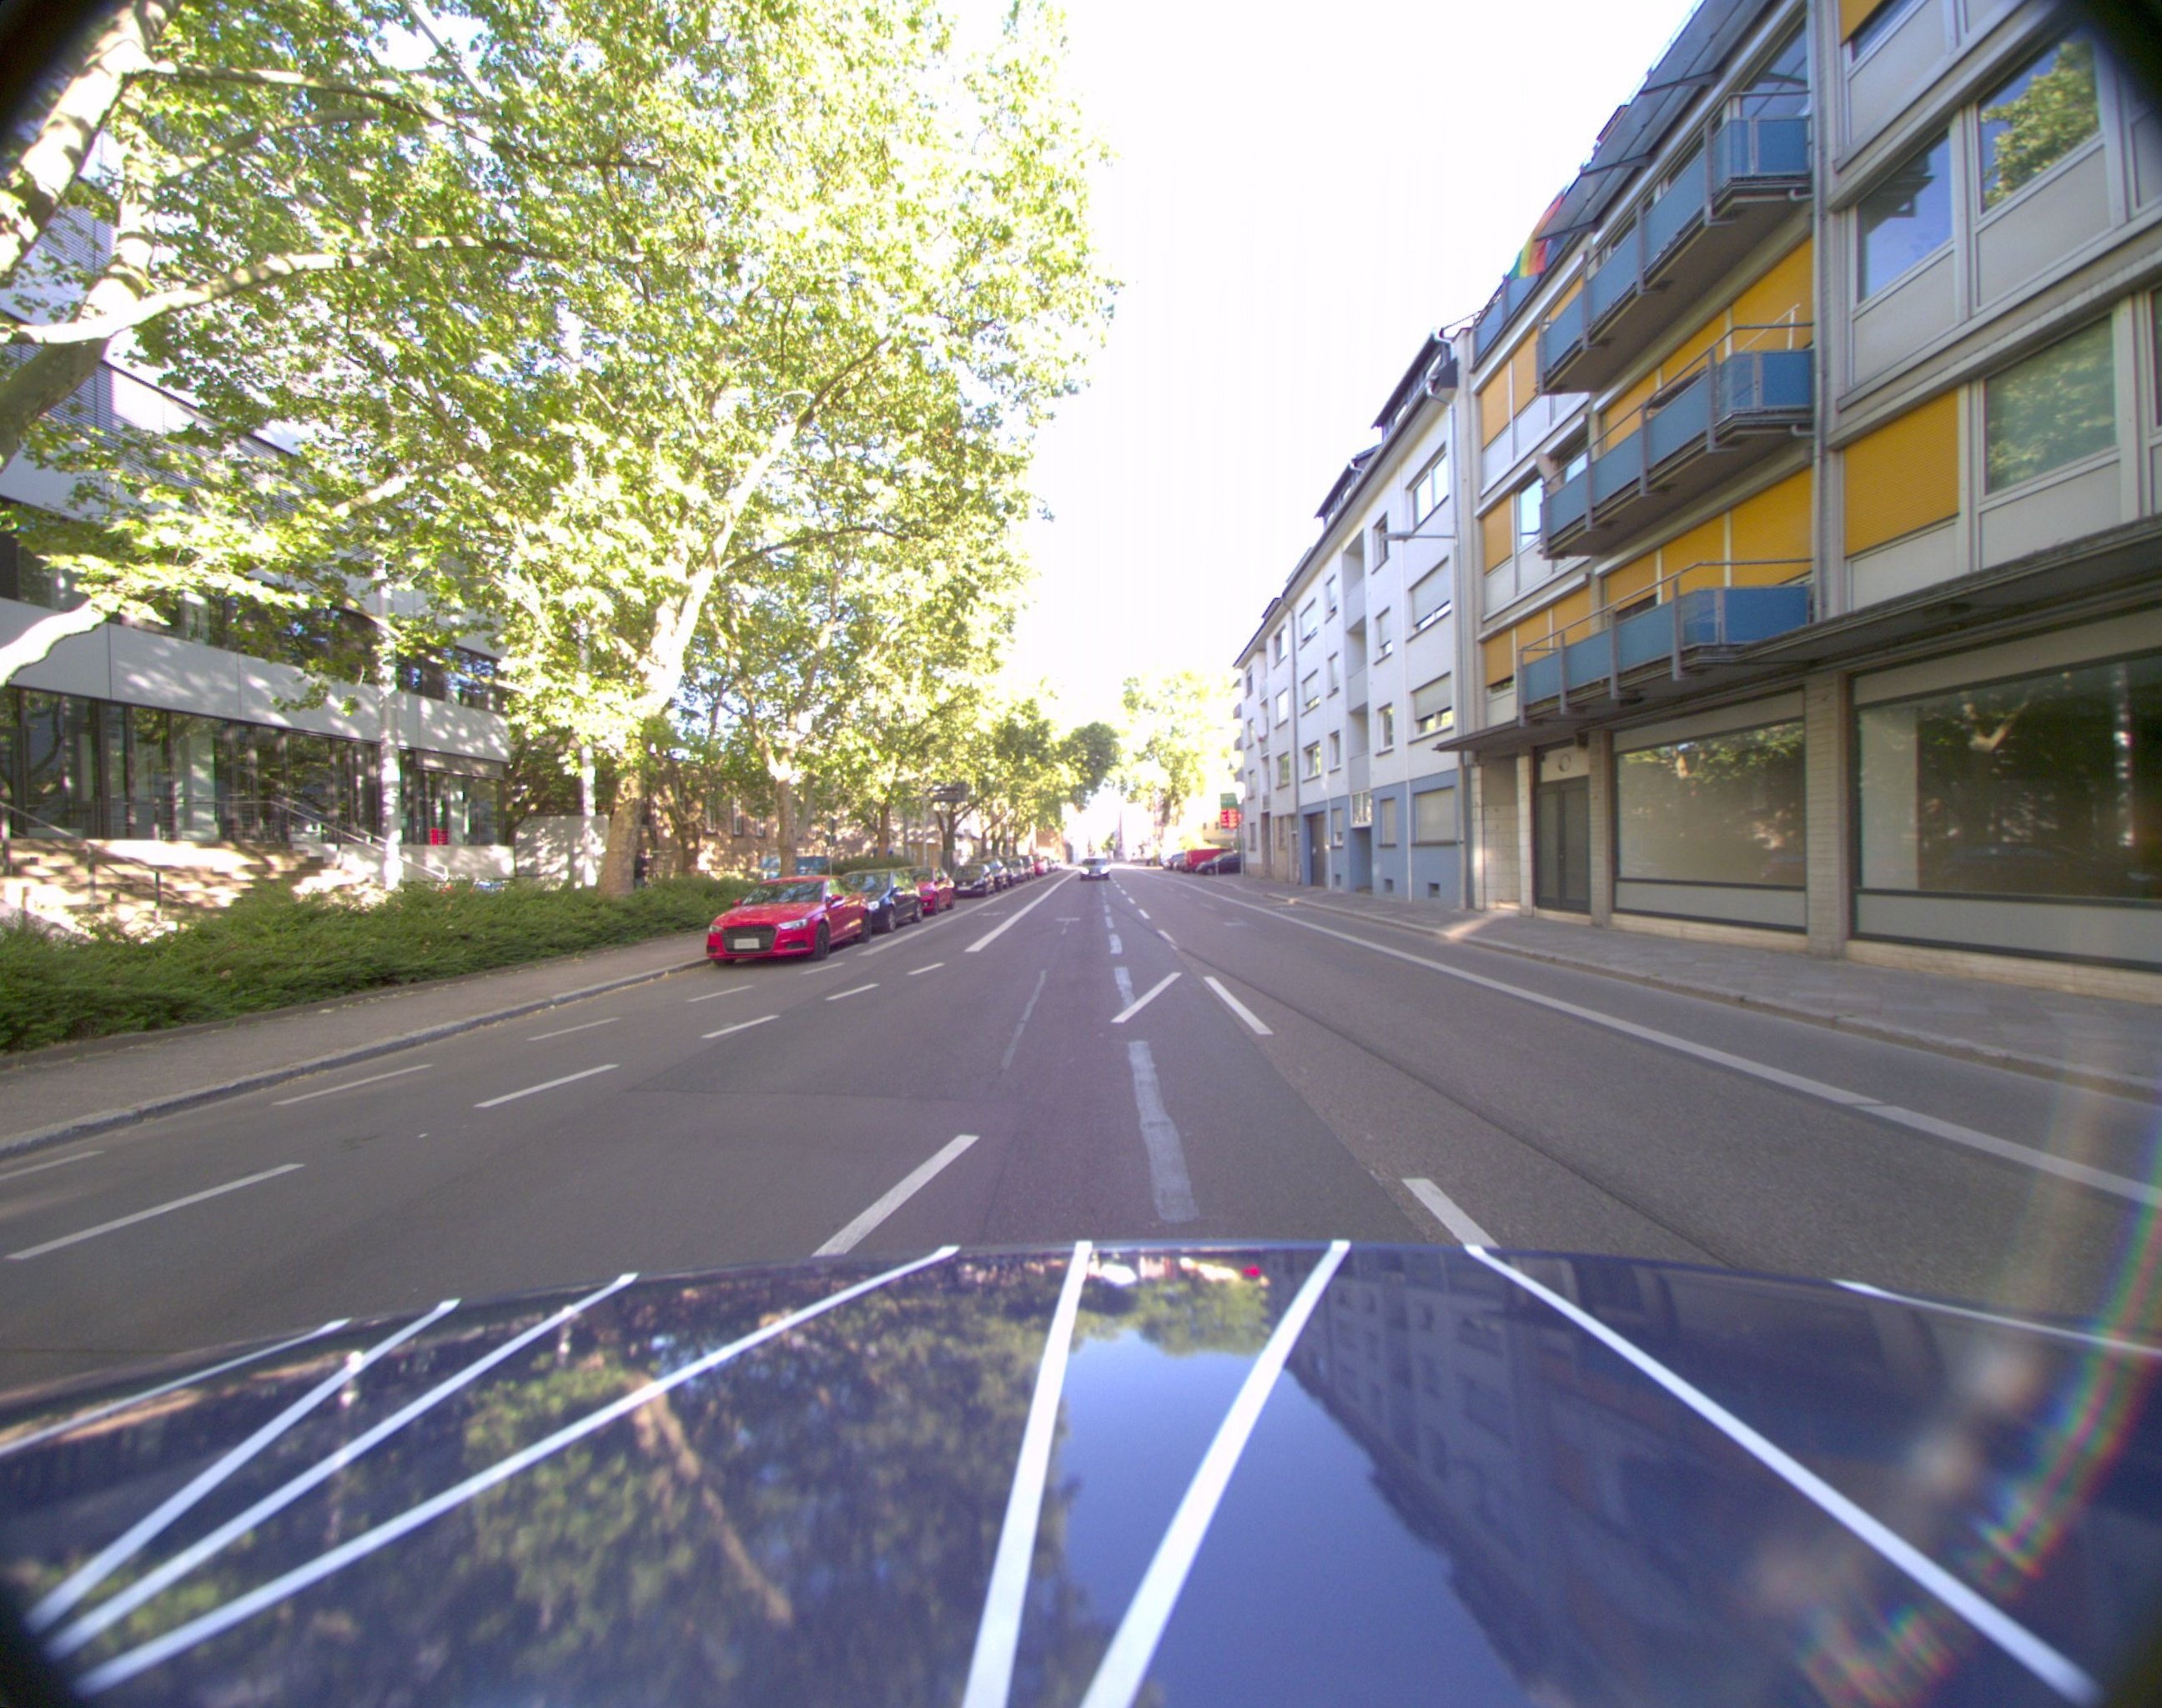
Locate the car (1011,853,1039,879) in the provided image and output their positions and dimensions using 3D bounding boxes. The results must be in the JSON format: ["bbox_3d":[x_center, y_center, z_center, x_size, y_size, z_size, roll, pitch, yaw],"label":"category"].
[{"bbox_3d":[-4.032,0.814,55.222,1.634,1.725,3.769,-2,1,0],"label":"car"}]

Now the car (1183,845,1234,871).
[{"bbox_3d":[10.066,0.314,59.924,3.688,1.897,1.490,-2,-1,-1],"label":"car"}]

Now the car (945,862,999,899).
[{"bbox_3d":[-4.689,1.111,33.219,1.692,1.414,3.923,-2,1,0],"label":"car"}]

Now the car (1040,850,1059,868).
[{"bbox_3d":[-3.796,0.582,92.563,1.998,2.002,4.000,-2,0,1],"label":"car"}]

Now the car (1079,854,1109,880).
[{"bbox_3d":[0.789,0.790,48.269,1.752,1.423,4.265,-2,0,0],"label":"car"}]

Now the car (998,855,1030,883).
[{"bbox_3d":[-4.348,0.939,50.094,1.634,1.604,4.576,-2,1,0],"label":"car"}]

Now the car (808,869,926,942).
[{"bbox_3d":[-5.047,1.163,18.393,1.669,1.410,3.697,-2,1,1],"label":"car"}]

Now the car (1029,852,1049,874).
[{"bbox_3d":[-3.897,0.806,70.985,1.599,1.835,3.769,-2,1,0],"label":"car"}]

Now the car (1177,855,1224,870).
[{"bbox_3d":[9.818,0.687,62.569,3.687,1.122,1.345,-2,1,2],"label":"car"}]

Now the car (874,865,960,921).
[{"bbox_3d":[-5.010,1.133,23.667,1.692,1.441,3.923,-2,1,1],"label":"car"}]

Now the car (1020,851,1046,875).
[{"bbox_3d":[-4.164,0.722,66.074,1.915,1.940,3.769,-2,1,0],"label":"car"}]

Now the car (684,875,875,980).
[{"bbox_3d":[-5.159,1.180,13.640,1.794,1.384,3.999,-2,1,0],"label":"car"}]

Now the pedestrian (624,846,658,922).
[{"bbox_3d":[-11.863,0.805,20.493,0.552,2.002,0.562,-2,1,-11],"label":"pedestrian"}]

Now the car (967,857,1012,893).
[{"bbox_3d":[-4.514,0.992,38.090,1.634,1.569,4.231,-2,1,0],"label":"car"}]

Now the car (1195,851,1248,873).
[{"bbox_3d":[10.096,0.583,54.710,3.508,1.380,1.490,-2,1,2],"label":"car"}]

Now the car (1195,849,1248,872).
[{"bbox_3d":[10.539,0.478,57.079,3.687,1.503,1.490,-2,1,2],"label":"car"}]

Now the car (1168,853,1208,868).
[{"bbox_3d":[10.274,0.620,73.011,3.687,1.238,1.345,-2,1,2],"label":"car"}]

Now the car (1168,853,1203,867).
[{"bbox_3d":[10.330,0.575,75.448,3.271,1.238,1.345,-2,1,2],"label":"car"}]

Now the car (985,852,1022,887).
[{"bbox_3d":[-4.450,0.853,44.223,1.634,1.781,4.576,-2,1,0],"label":"car"}]
